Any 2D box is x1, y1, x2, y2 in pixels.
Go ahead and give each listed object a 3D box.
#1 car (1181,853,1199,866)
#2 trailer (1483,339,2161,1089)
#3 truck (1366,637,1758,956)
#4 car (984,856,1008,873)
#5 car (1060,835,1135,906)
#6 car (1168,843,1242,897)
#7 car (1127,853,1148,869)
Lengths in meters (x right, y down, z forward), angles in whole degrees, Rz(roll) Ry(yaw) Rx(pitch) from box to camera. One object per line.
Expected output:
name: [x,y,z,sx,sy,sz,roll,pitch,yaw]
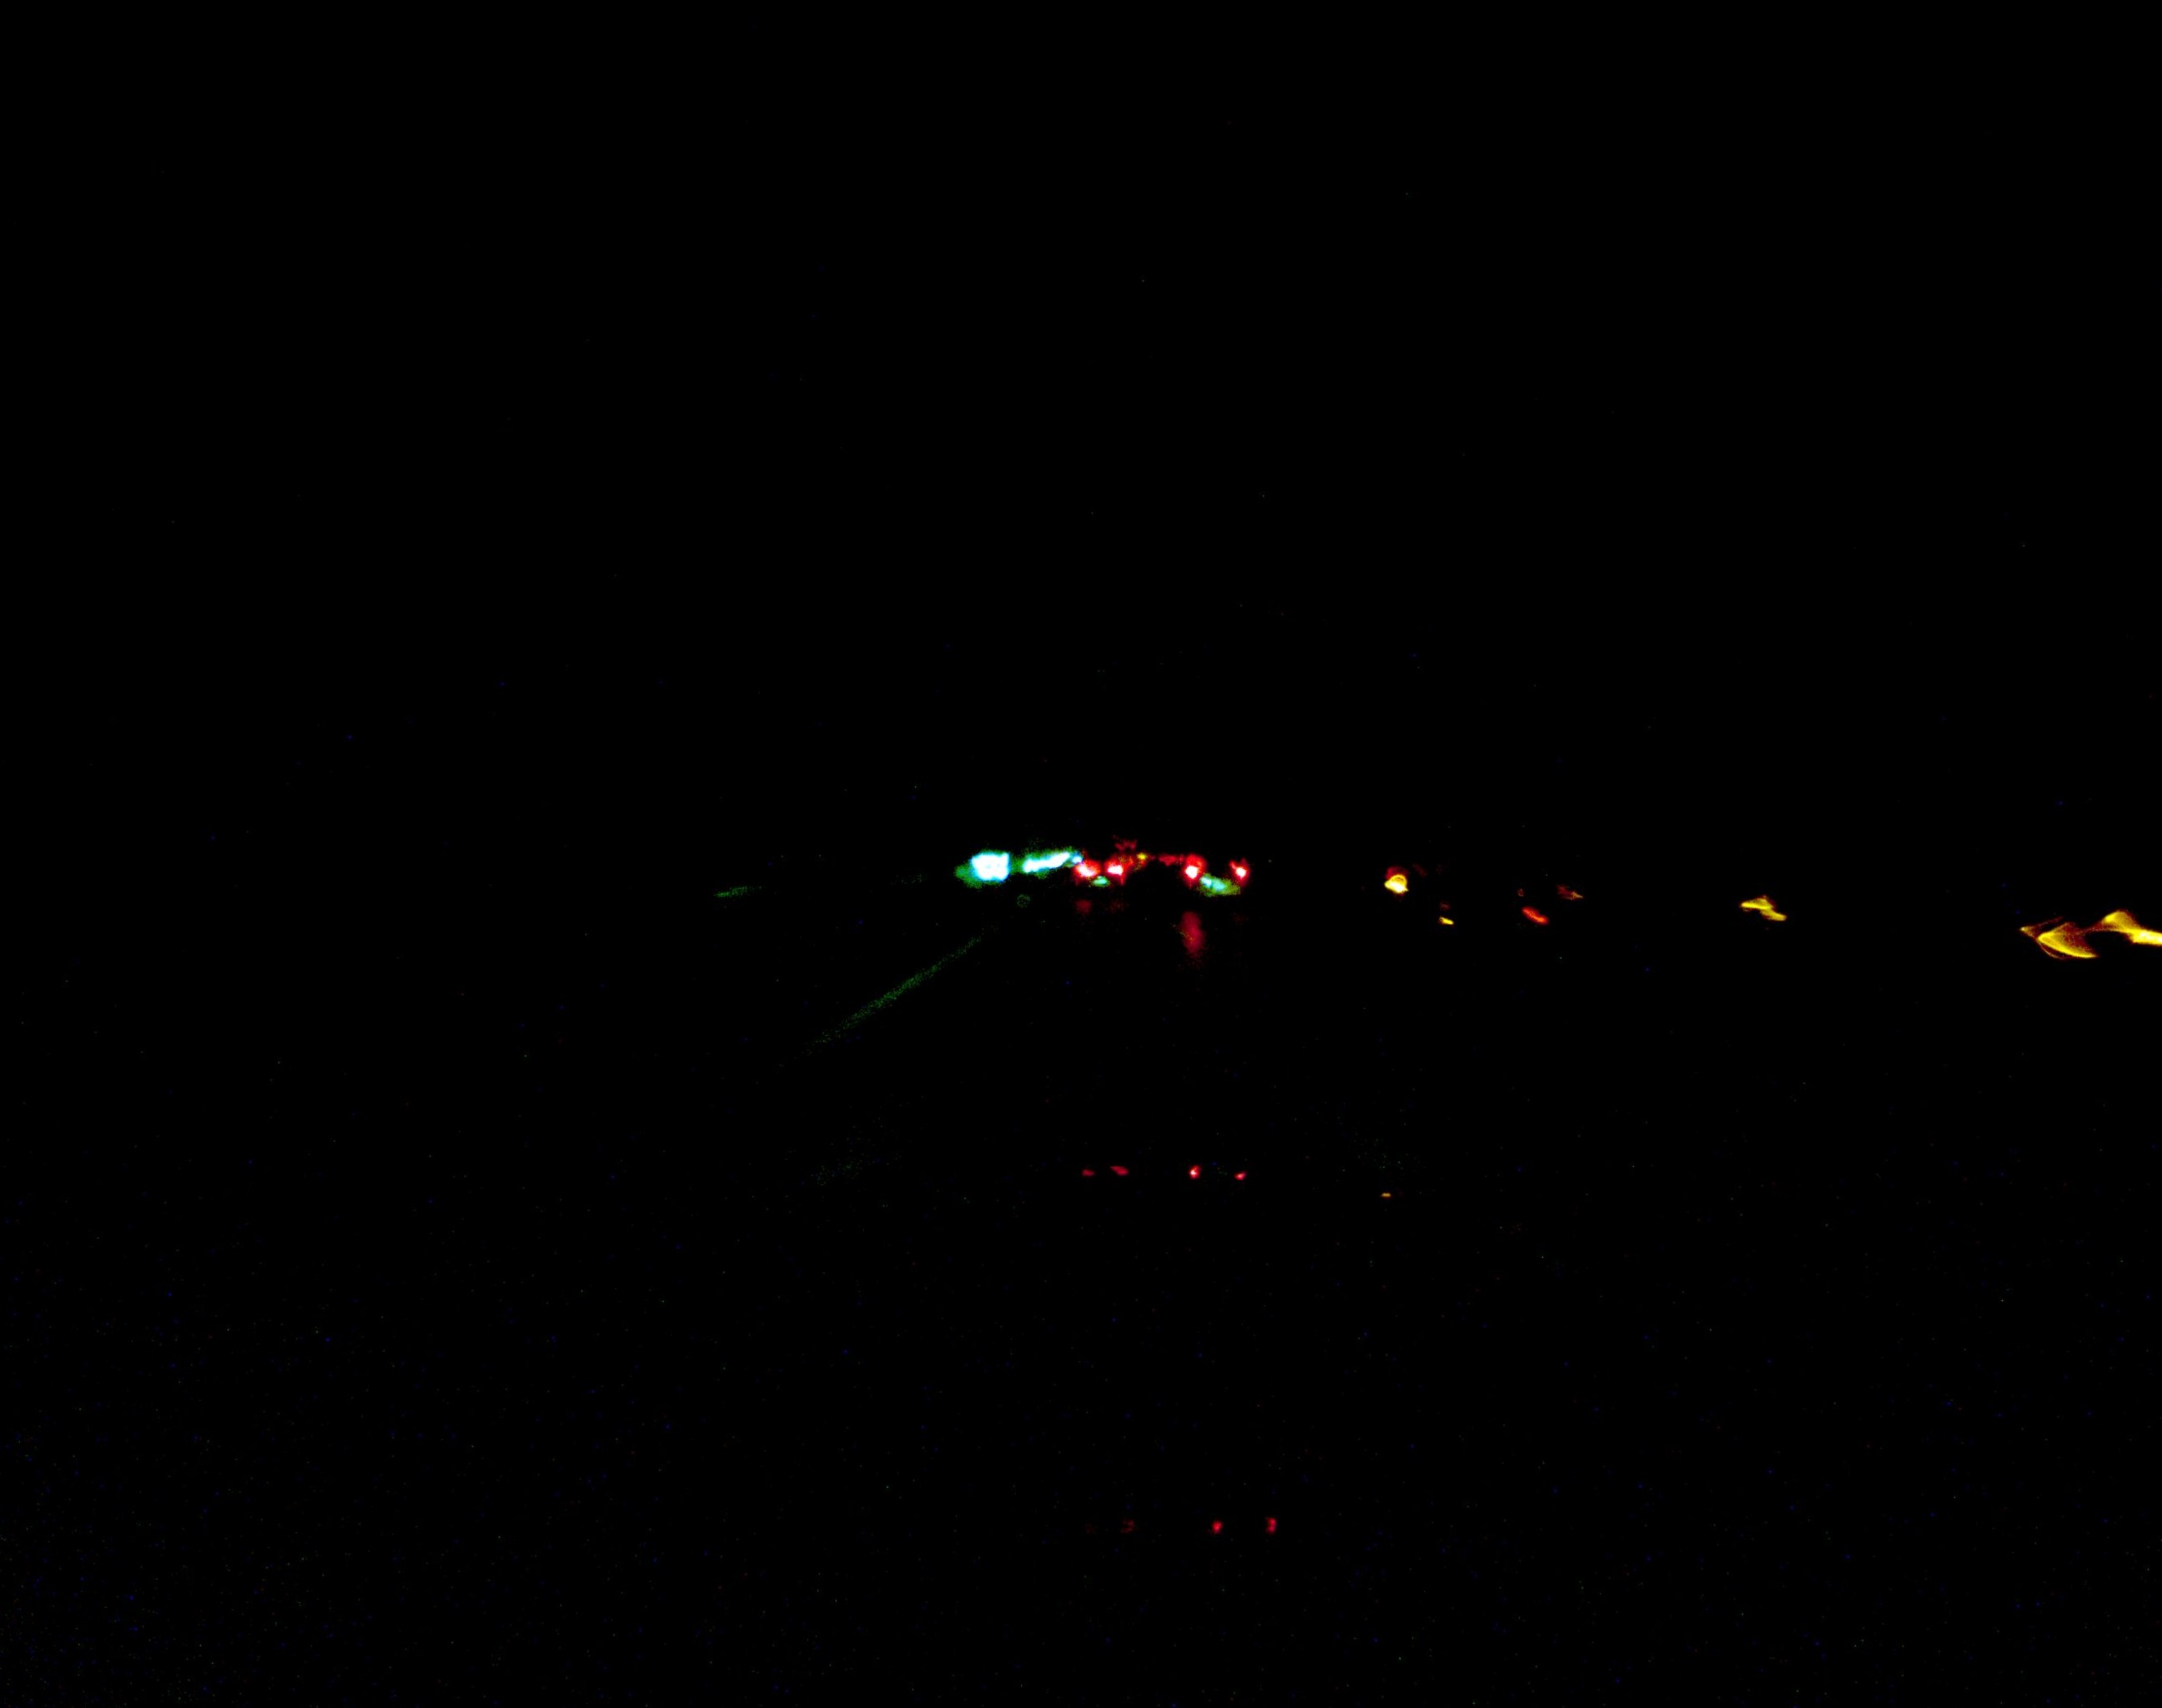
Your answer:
car: [13.494,0.674,100.606,1.848,1.618,4.002,0,0,3]
trailer: [7.530,-0.793,6.619,2.793,4.212,12.100,-1,0,2]
truck: [7.780,-0.768,14.708,2.793,4.267,7.450,-1,0,1]
car: [-7.941,0.981,76.276,1.704,1.563,4.296,-2,-1,1]
car: [0.626,0.598,33.578,2.701,2.534,5.830,-3,0,0]
car: [3.919,0.488,26.297,1.877,1.588,4.001,-1,0,1]
car: [6.057,0.728,87.117,2.128,1.618,4.002,0,0,2]
